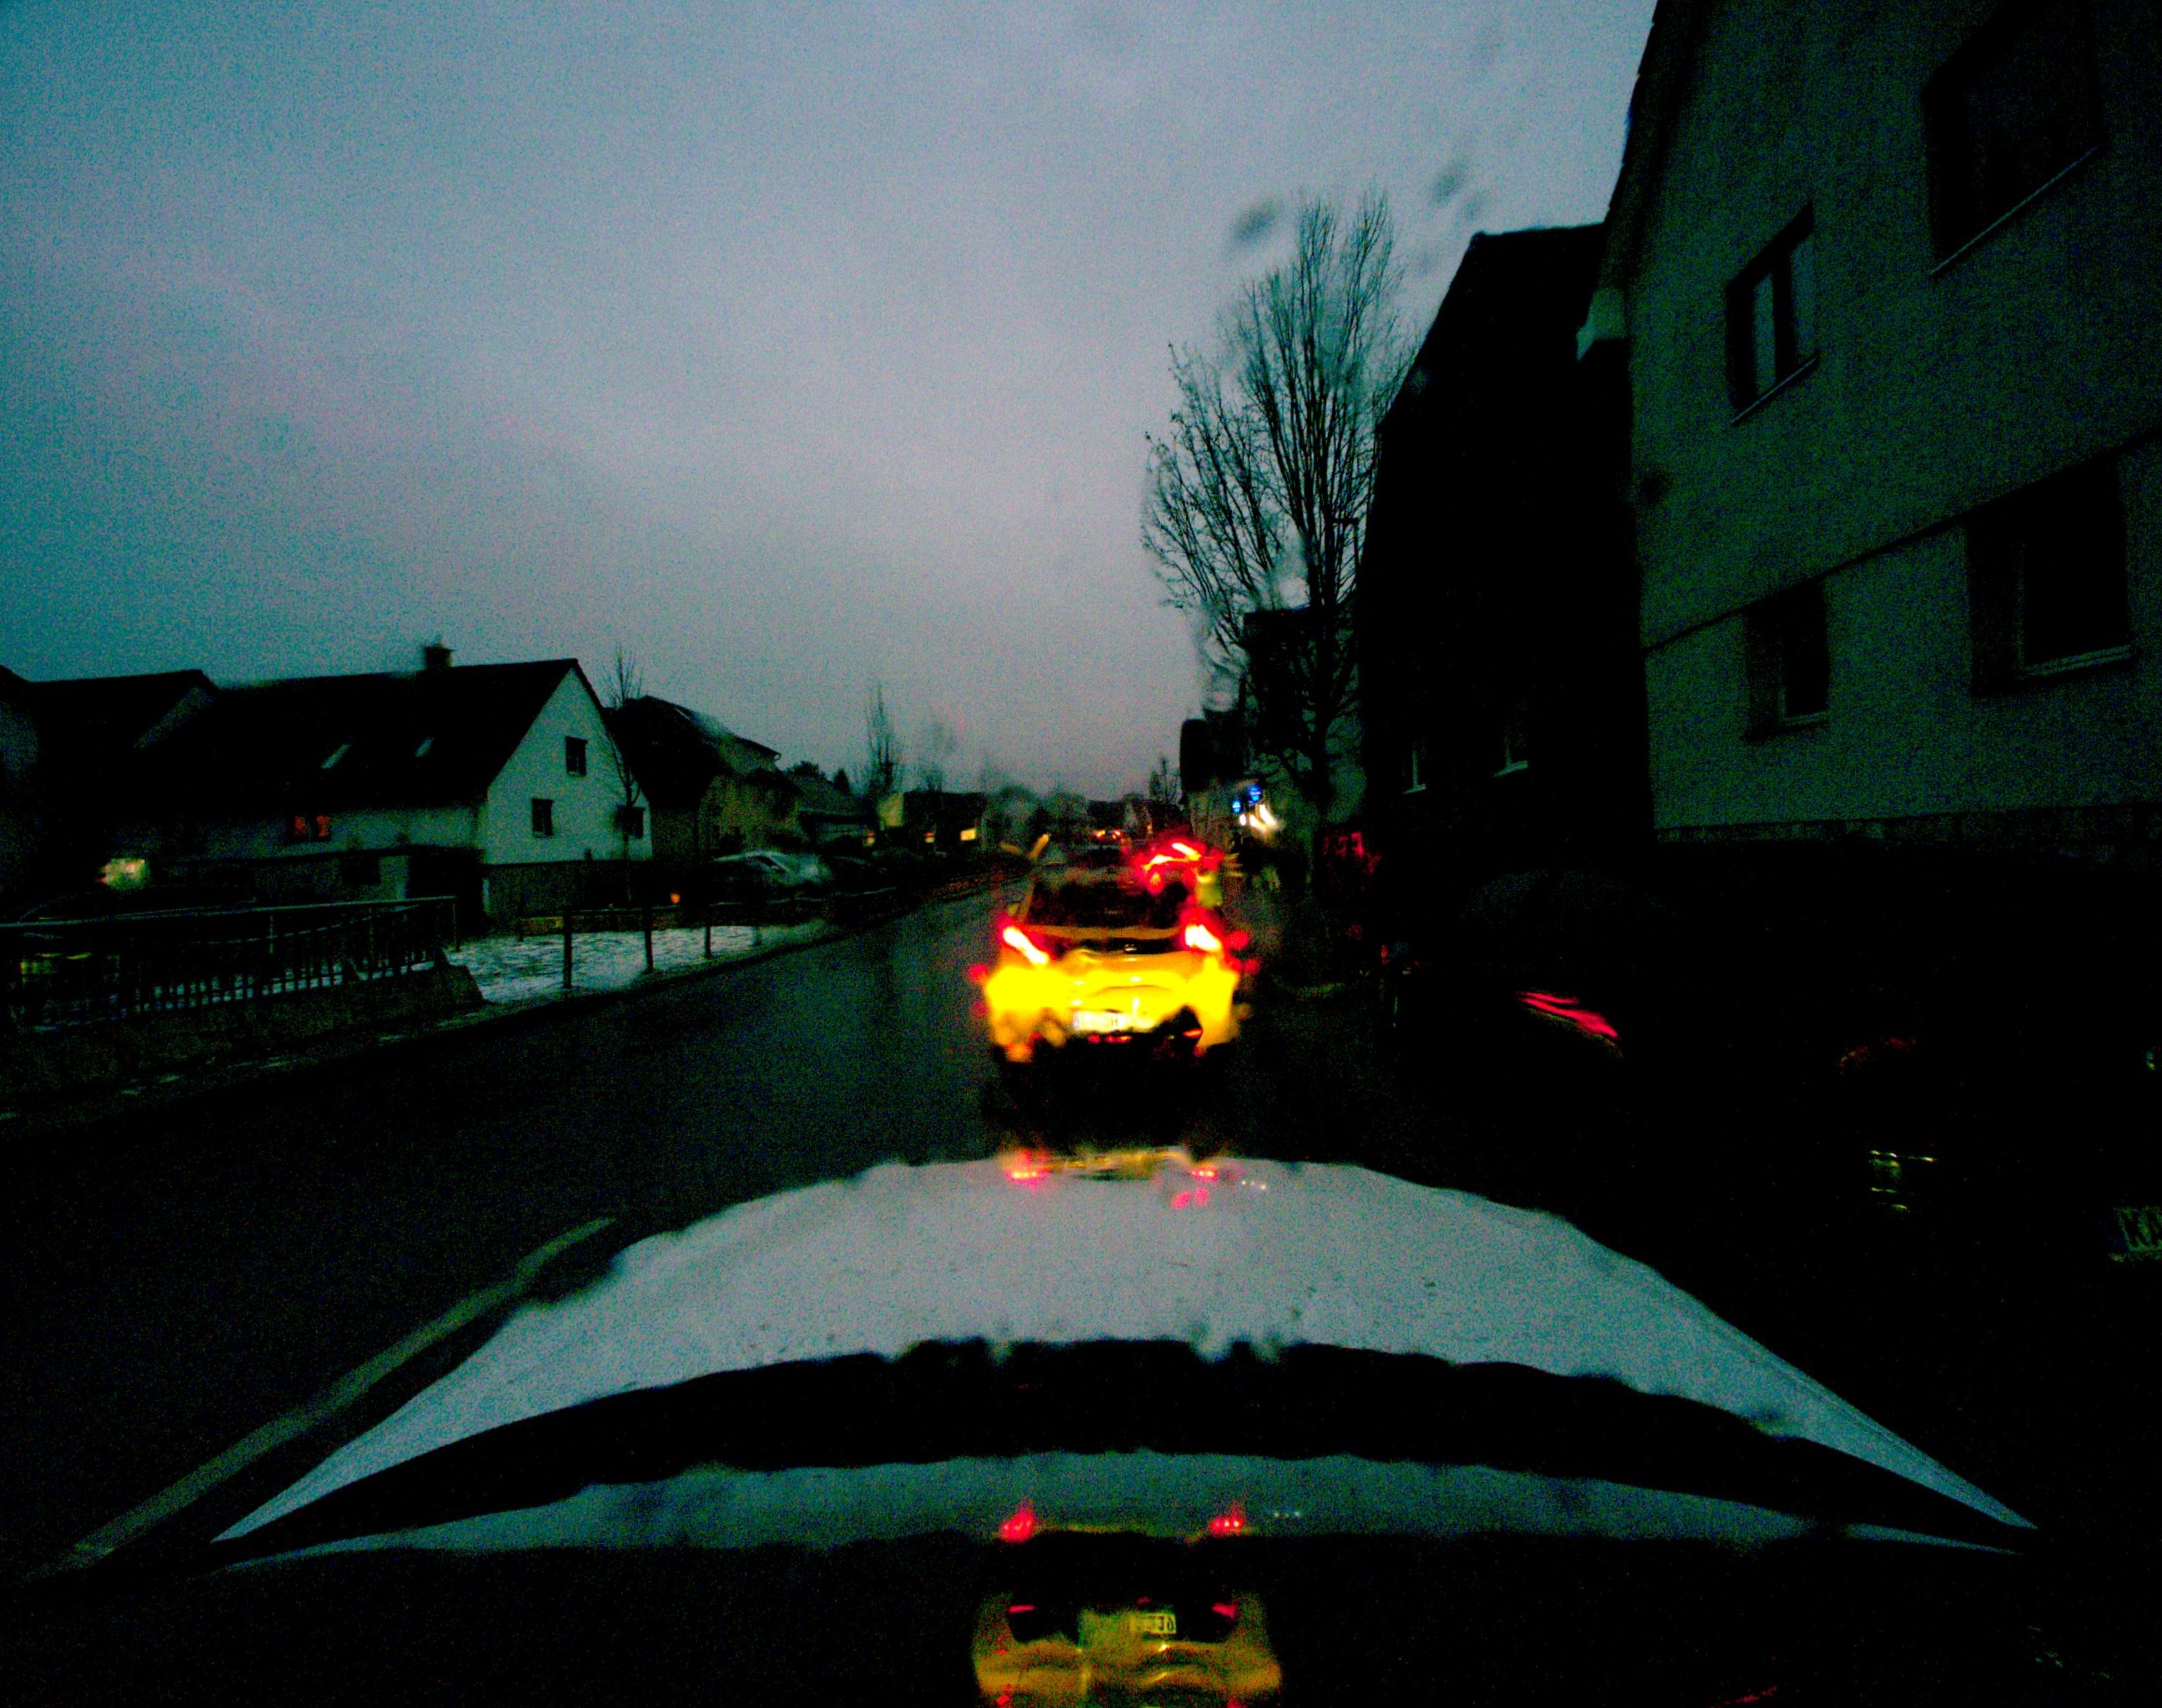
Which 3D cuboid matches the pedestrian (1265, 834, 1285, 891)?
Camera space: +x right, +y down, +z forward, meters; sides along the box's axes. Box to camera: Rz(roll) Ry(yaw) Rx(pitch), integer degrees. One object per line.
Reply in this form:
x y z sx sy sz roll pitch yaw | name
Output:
5.742 0.264 24.182 0.525 1.653 0.957 -1 -2 12 | pedestrian

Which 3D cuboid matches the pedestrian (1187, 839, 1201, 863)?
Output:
7.305 -0.188 52.716 0.618 1.515 0.731 -2 1 -12 | pedestrian

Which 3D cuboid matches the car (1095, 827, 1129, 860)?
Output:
3.104 -1.052 82.861 3.180 3.032 6.303 0 -2 0 | car

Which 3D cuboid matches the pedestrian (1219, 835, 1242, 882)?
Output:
5.712 0.160 31.043 0.707 1.715 1.039 -3 0 15 | pedestrian

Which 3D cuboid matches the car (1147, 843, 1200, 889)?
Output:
3.713 0.450 33.332 1.729 1.692 4.387 -2 0 1 | car

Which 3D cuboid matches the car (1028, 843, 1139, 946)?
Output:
0.098 0.640 14.787 1.760 1.628 3.587 -1 0 2 | car

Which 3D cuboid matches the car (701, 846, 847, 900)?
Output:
-9.309 0.567 24.849 3.772 1.523 1.719 -1 -1 8 | car

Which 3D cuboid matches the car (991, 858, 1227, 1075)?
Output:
0.238 0.761 6.941 1.557 1.412 3.019 -1 0 2 | car

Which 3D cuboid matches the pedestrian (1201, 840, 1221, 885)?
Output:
5.038 0.323 31.571 0.571 1.699 0.653 -4 -1 3 | pedestrian

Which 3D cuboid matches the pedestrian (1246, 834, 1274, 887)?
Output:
5.926 0.229 26.995 0.743 1.679 1.054 -4 -1 8 | pedestrian

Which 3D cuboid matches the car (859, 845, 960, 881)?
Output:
-8.600 0.468 41.160 4.611 1.667 1.999 -1 -1 -1 | car

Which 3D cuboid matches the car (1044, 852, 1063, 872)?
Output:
-2.906 0.900 88.122 1.913 2.028 3.974 0 -2 0 | car

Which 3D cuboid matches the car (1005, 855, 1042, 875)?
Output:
-6.700 1.293 95.169 2.011 2.167 4.331 2 -3 -44 | car

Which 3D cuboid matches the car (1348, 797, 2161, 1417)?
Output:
2.815 0.595 4.104 1.720 1.464 4.203 -5 0 4 | car

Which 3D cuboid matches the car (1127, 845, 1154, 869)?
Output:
4.719 0.259 65.293 1.990 1.865 4.085 -1 0 2 | car

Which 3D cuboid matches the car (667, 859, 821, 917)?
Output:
-9.067 0.890 22.103 3.432 1.372 1.601 -2 0 1 | car

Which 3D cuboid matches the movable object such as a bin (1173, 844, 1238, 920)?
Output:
2.577 0.548 17.013 1.124 1.420 1.419 -5 1 4 | movable object such as a bin

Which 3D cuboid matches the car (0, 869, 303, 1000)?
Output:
-14.127 1.088 11.392 1.794 1.482 4.577 -4 1 4 | car

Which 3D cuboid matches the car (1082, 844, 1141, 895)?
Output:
0.856 0.396 22.971 1.535 1.331 3.313 -1 0 2 | car

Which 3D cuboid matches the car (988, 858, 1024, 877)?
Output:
-8.446 1.523 91.647 1.833 1.976 4.117 2 -3 -44 | car

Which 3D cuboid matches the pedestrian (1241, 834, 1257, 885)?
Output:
5.994 0.180 29.002 0.525 1.800 0.867 -1 0 12 | pedestrian

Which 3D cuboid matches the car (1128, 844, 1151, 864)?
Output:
5.530 0.014 77.202 1.990 1.865 4.085 -1 0 2 | car

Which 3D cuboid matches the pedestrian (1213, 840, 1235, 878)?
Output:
6.254 0.227 35.715 0.618 1.626 0.903 -2 1 -11 | pedestrian

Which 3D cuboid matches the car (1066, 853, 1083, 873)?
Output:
-0.785 1.065 96.224 1.913 2.216 3.974 0 -2 0 | car
